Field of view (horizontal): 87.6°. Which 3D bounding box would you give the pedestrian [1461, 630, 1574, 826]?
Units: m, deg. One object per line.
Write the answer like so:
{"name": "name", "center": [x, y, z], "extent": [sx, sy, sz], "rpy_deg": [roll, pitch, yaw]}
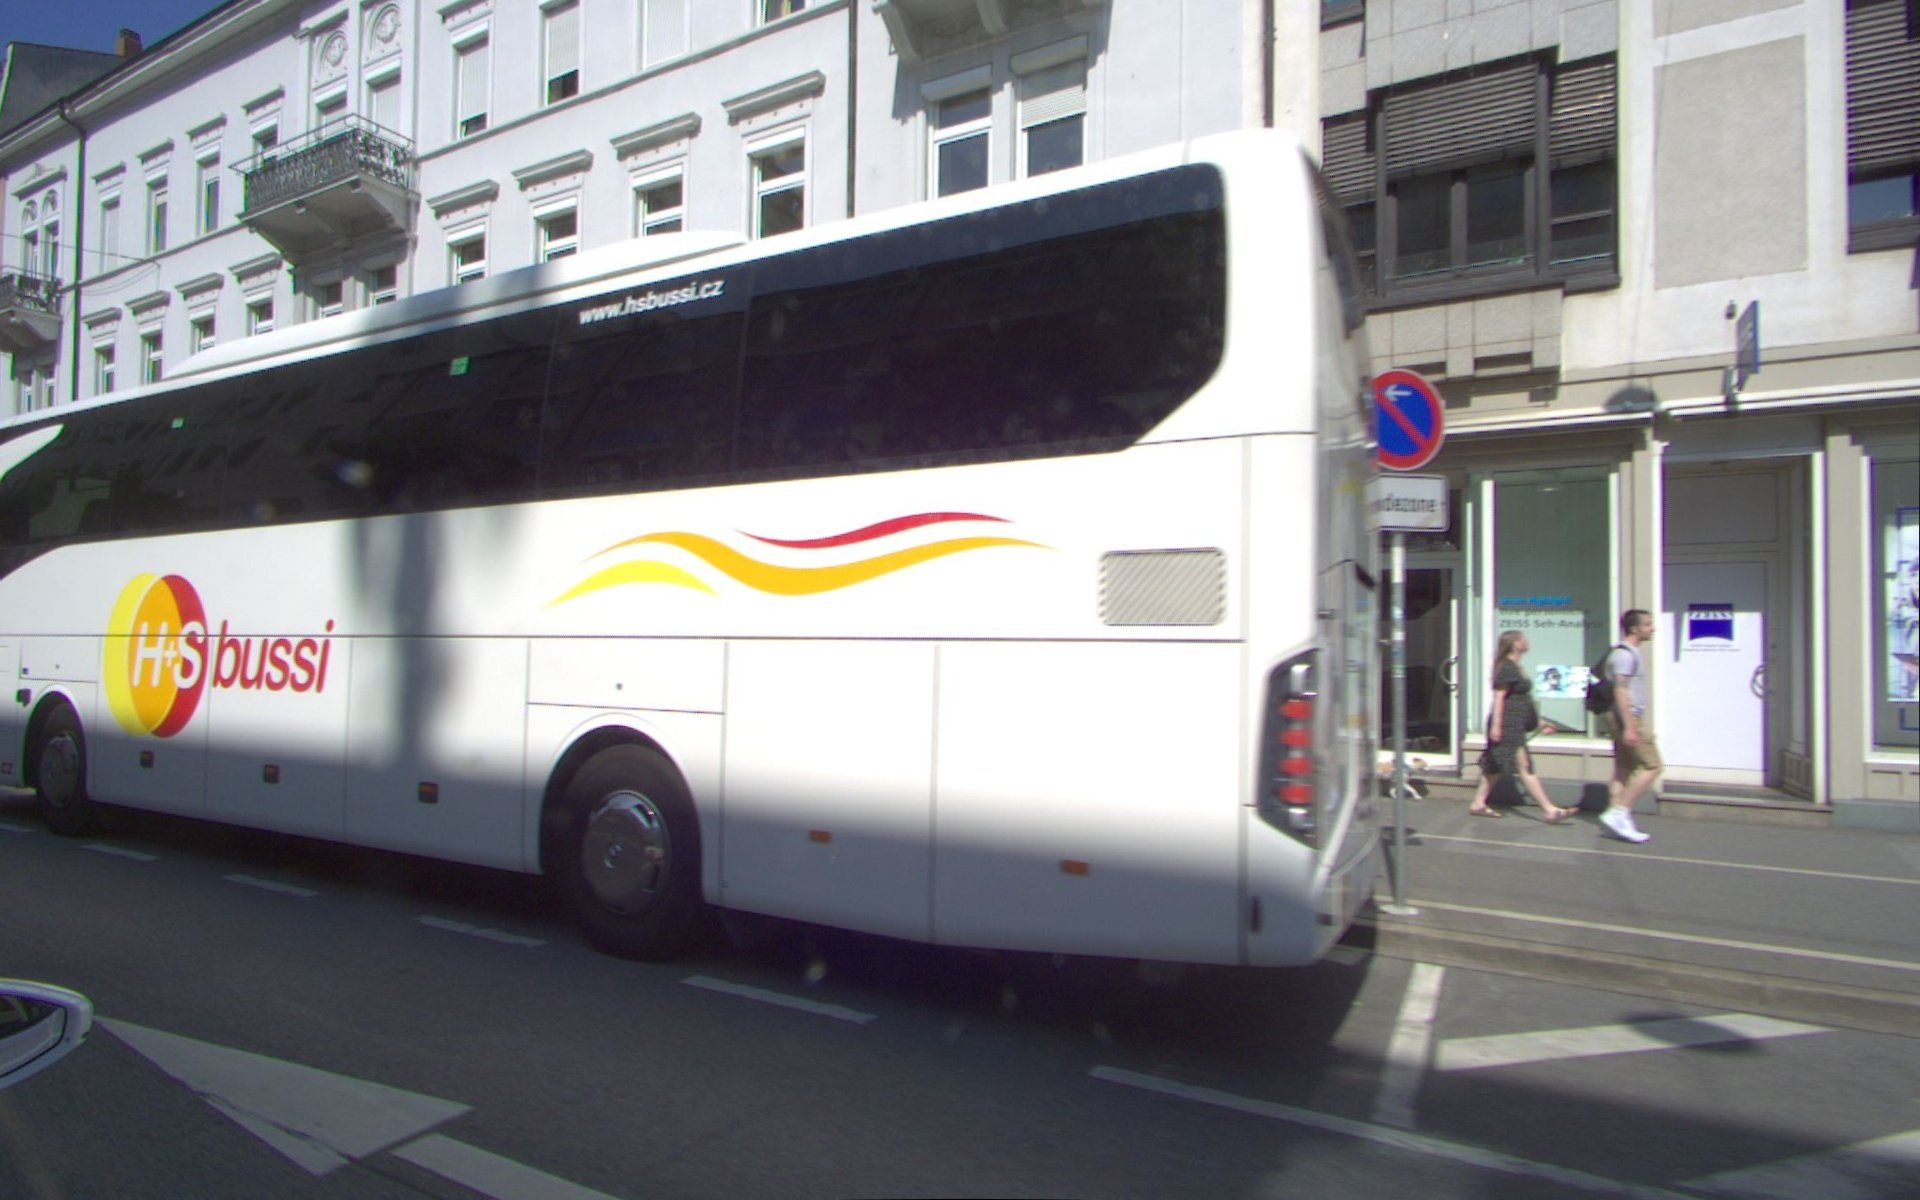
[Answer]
{"name": "pedestrian", "center": [4.956, 1.105, 8.899], "extent": [0.810, 1.637, 0.644], "rpy_deg": [-2, -3, 32]}

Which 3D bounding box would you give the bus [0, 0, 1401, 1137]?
{"name": "bus", "center": [-3.534, -0.069, 7.348], "extent": [12.233, 3.786, 2.883], "rpy_deg": [0, -4, 28]}

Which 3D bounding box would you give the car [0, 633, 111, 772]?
{"name": "car", "center": [-12.587, 1.126, 12.097], "extent": [5.147, 1.487, 1.859], "rpy_deg": [0, -4, 30]}

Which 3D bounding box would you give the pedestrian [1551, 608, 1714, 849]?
{"name": "pedestrian", "center": [5.352, 0.996, 8.033], "extent": [1.005, 1.800, 0.572], "rpy_deg": [-2, -3, 32]}
